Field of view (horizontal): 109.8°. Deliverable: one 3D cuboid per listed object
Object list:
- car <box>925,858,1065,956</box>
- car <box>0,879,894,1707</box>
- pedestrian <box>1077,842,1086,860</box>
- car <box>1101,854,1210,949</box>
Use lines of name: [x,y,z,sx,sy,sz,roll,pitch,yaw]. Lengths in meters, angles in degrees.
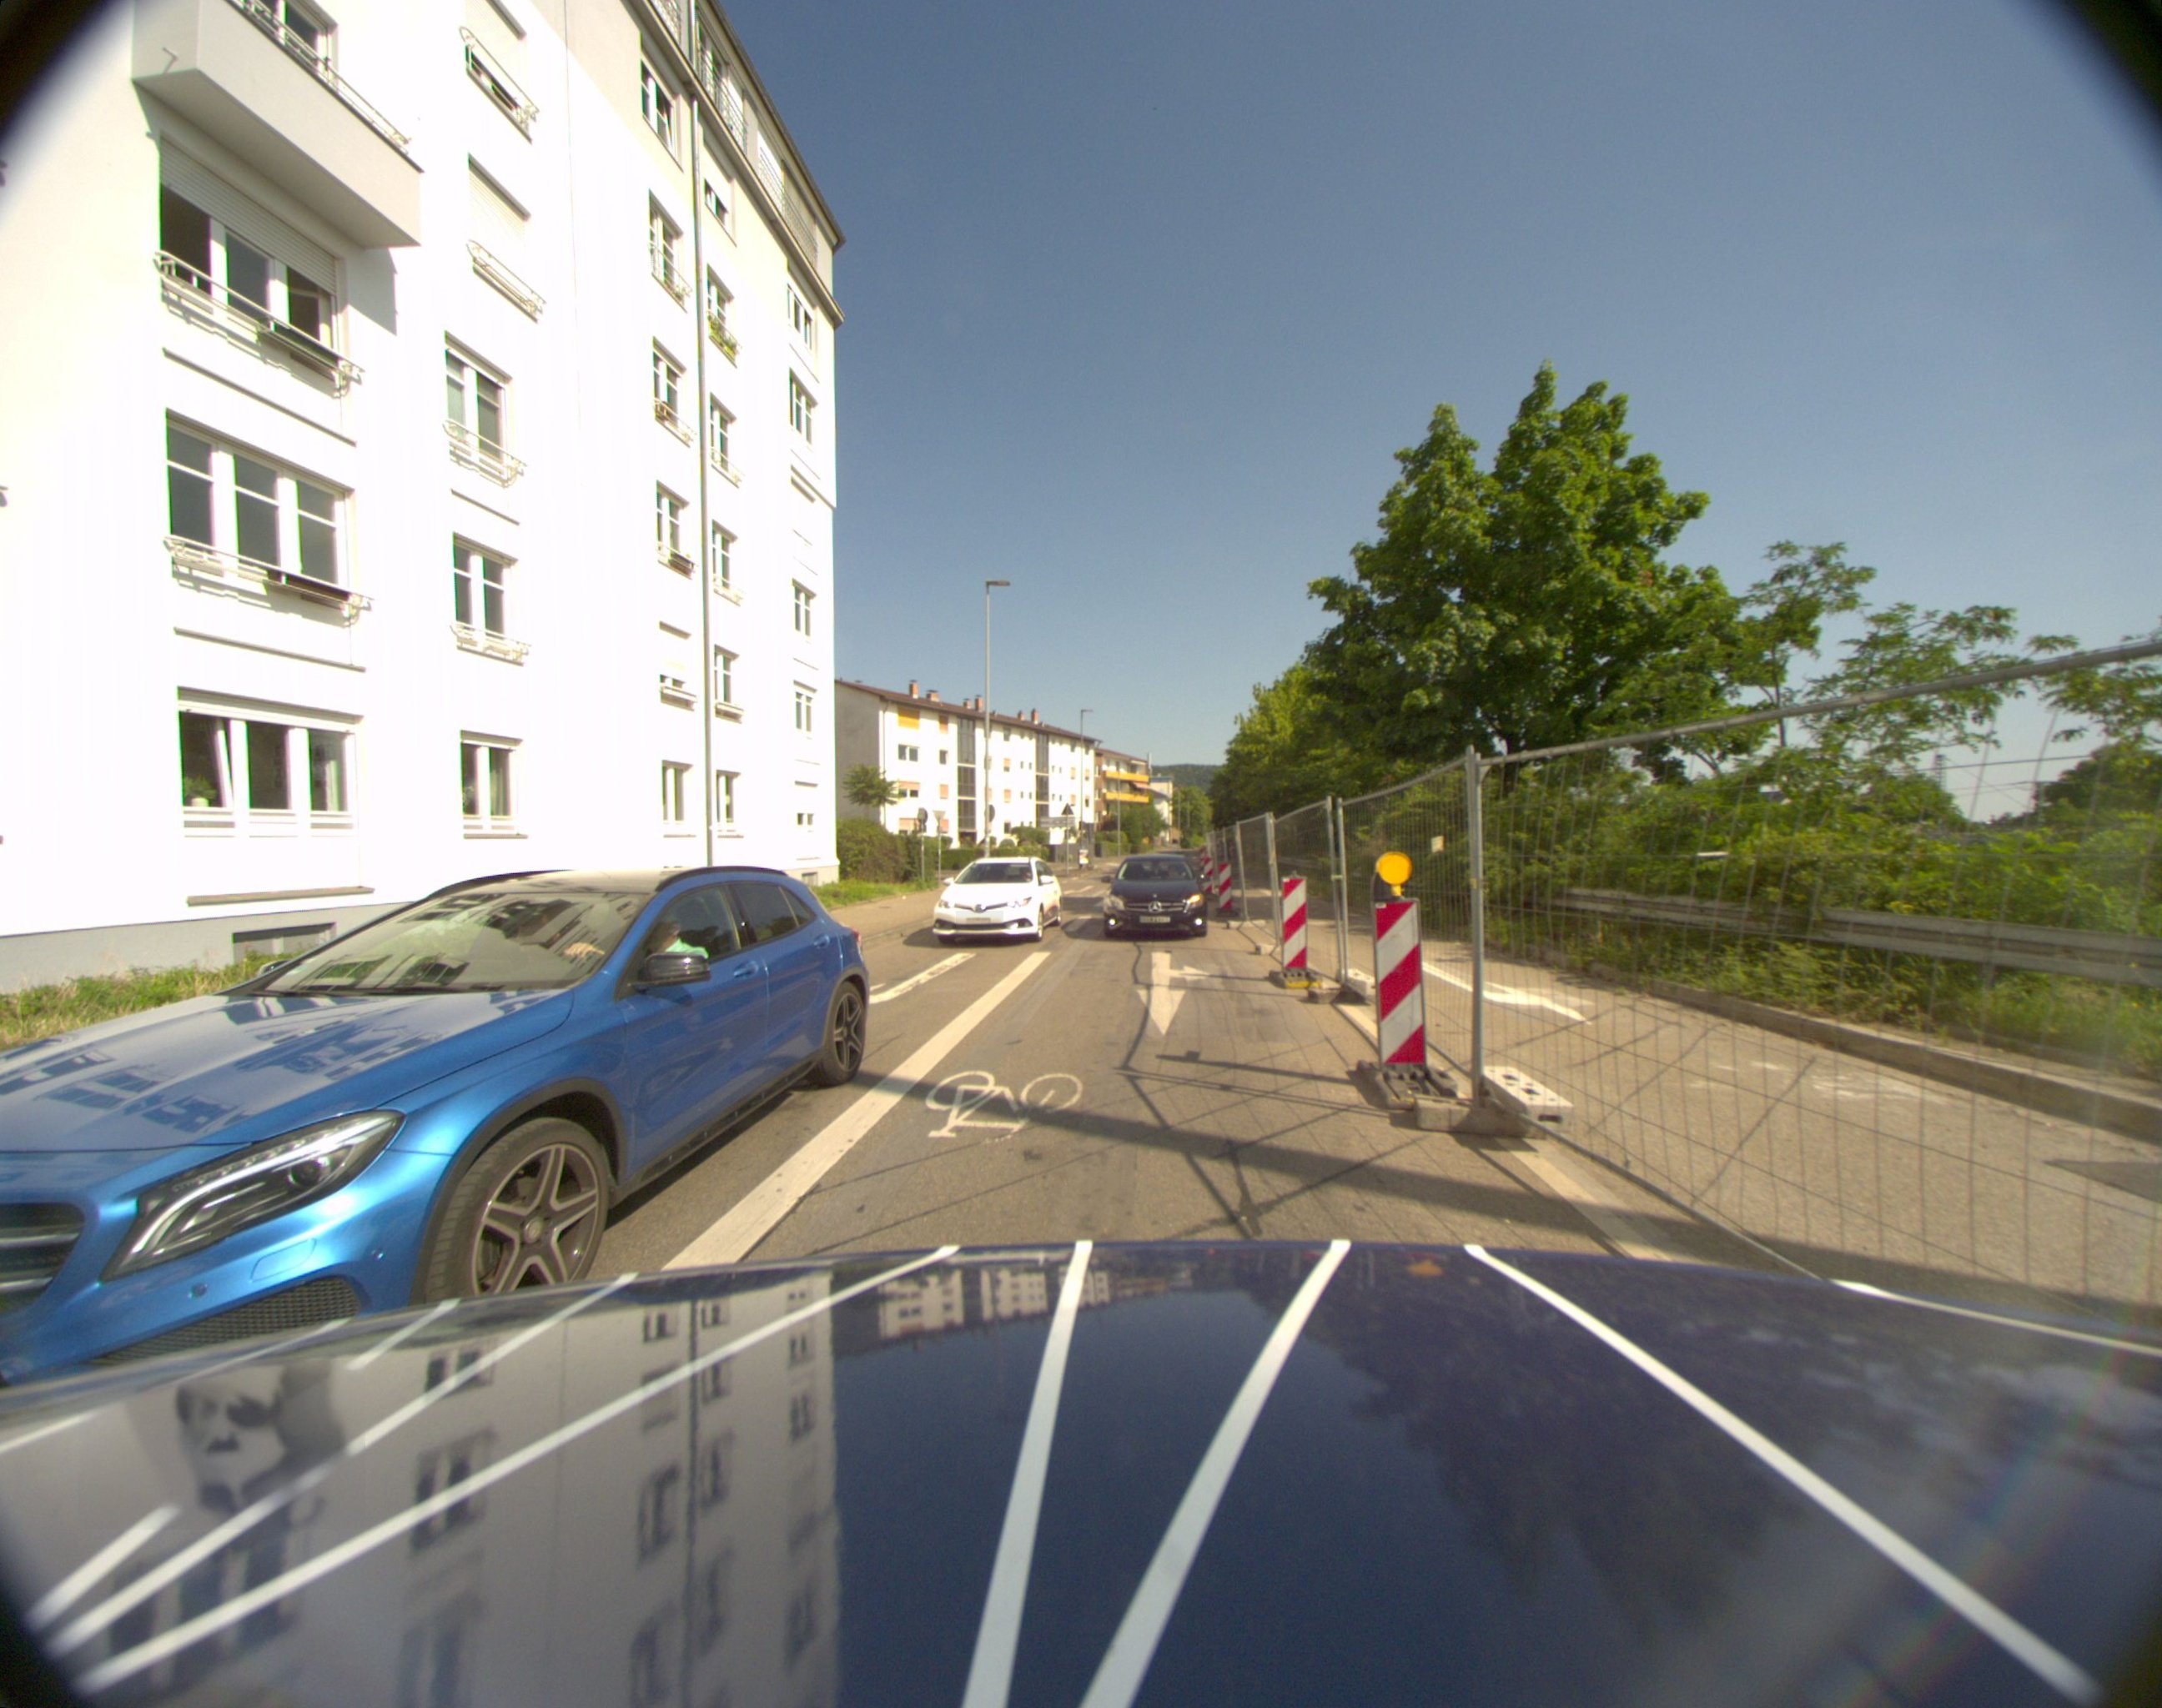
car: [-1.402,0.851,14.161,1.700,1.404,4.487,-1,1,5]
car: [-2.504,0.976,3.633,1.674,1.472,4.552,-2,1,5]
pedestrian: [0.010,-0.293,64.603,0.607,1.501,0.771,-1,3,9]
car: [1.374,0.753,14.337,1.702,1.400,4.623,-1,1,5]
